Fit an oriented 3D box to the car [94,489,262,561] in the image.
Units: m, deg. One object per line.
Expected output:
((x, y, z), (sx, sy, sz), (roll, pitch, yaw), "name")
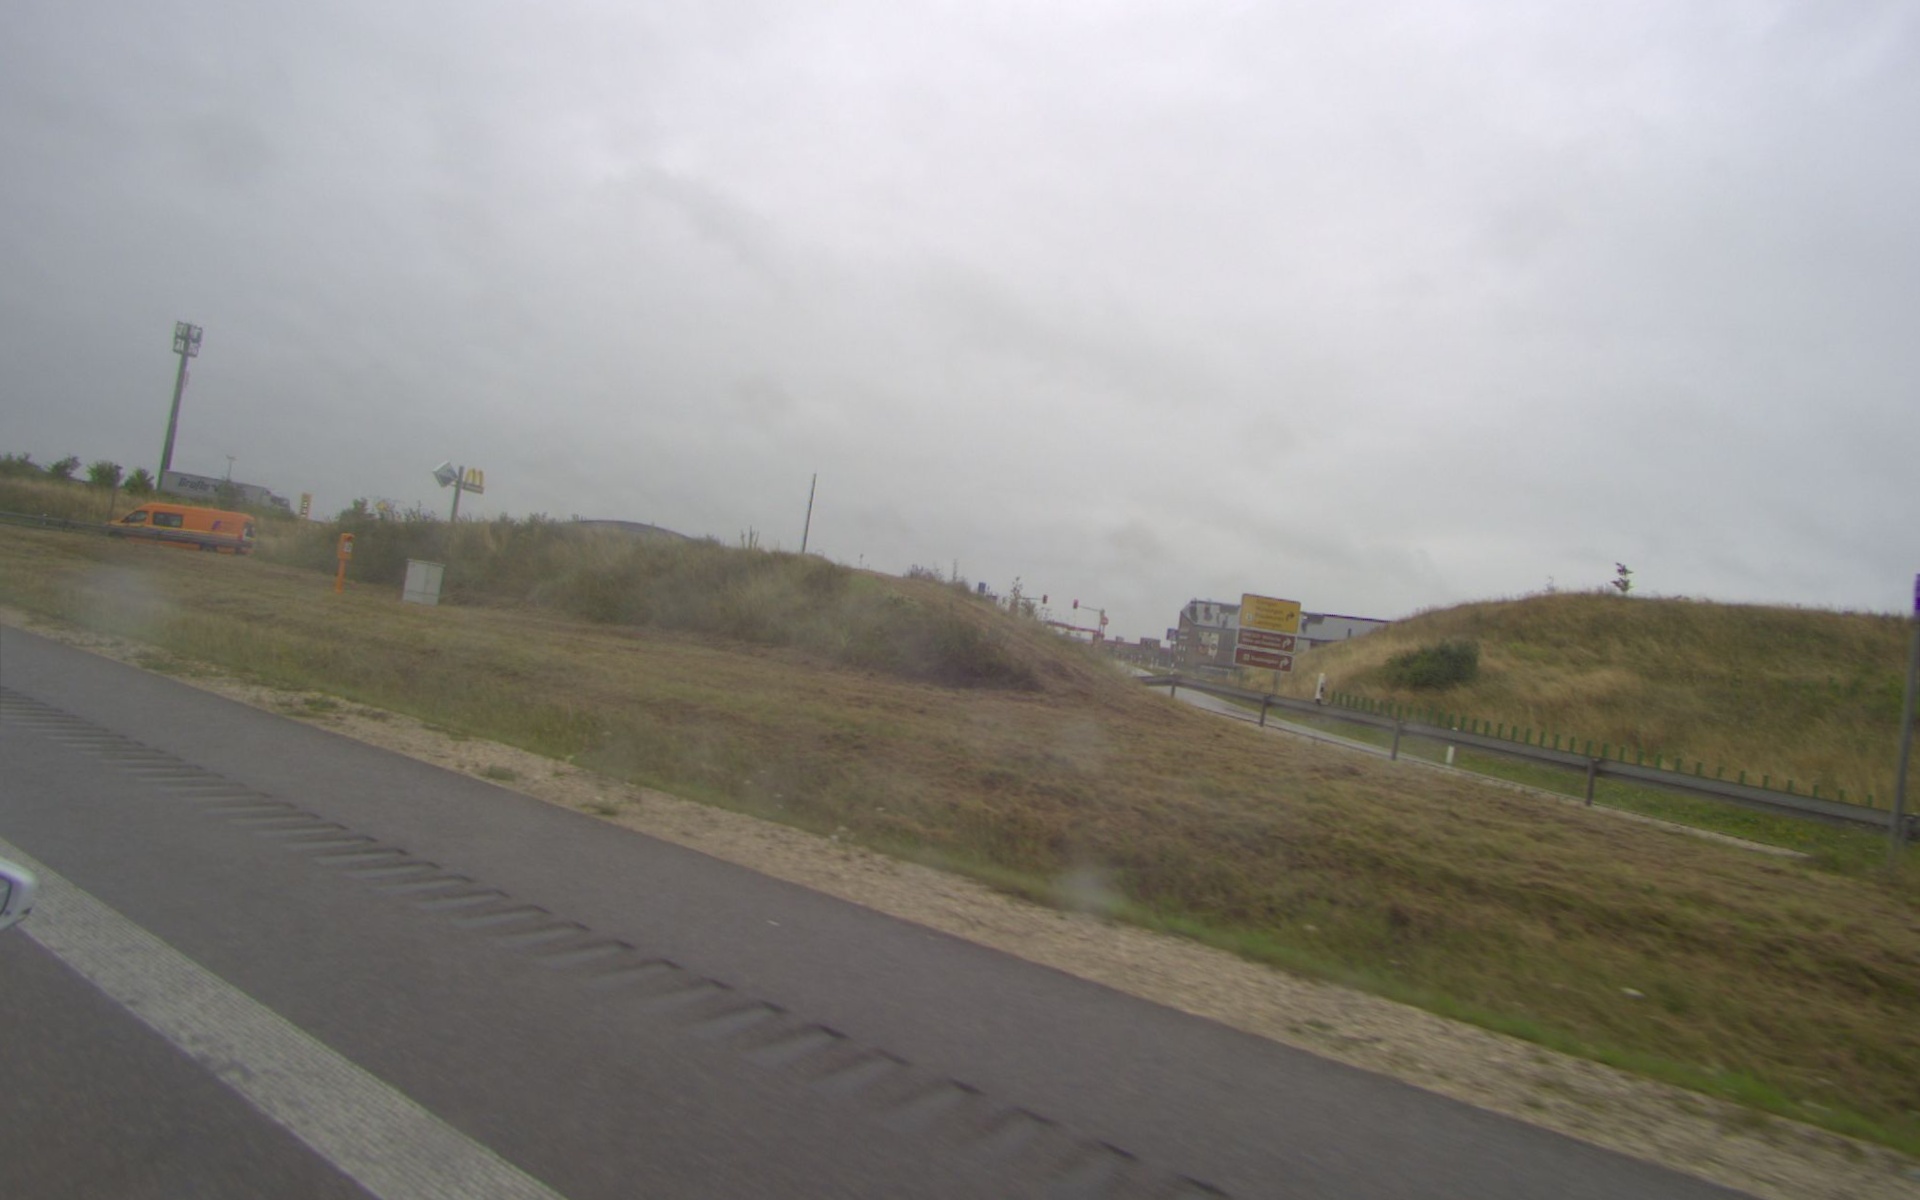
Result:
((-43.307, -4.088, 55.920), (6.791, 2.644, 2.061), (10, -3, -19), "car")
